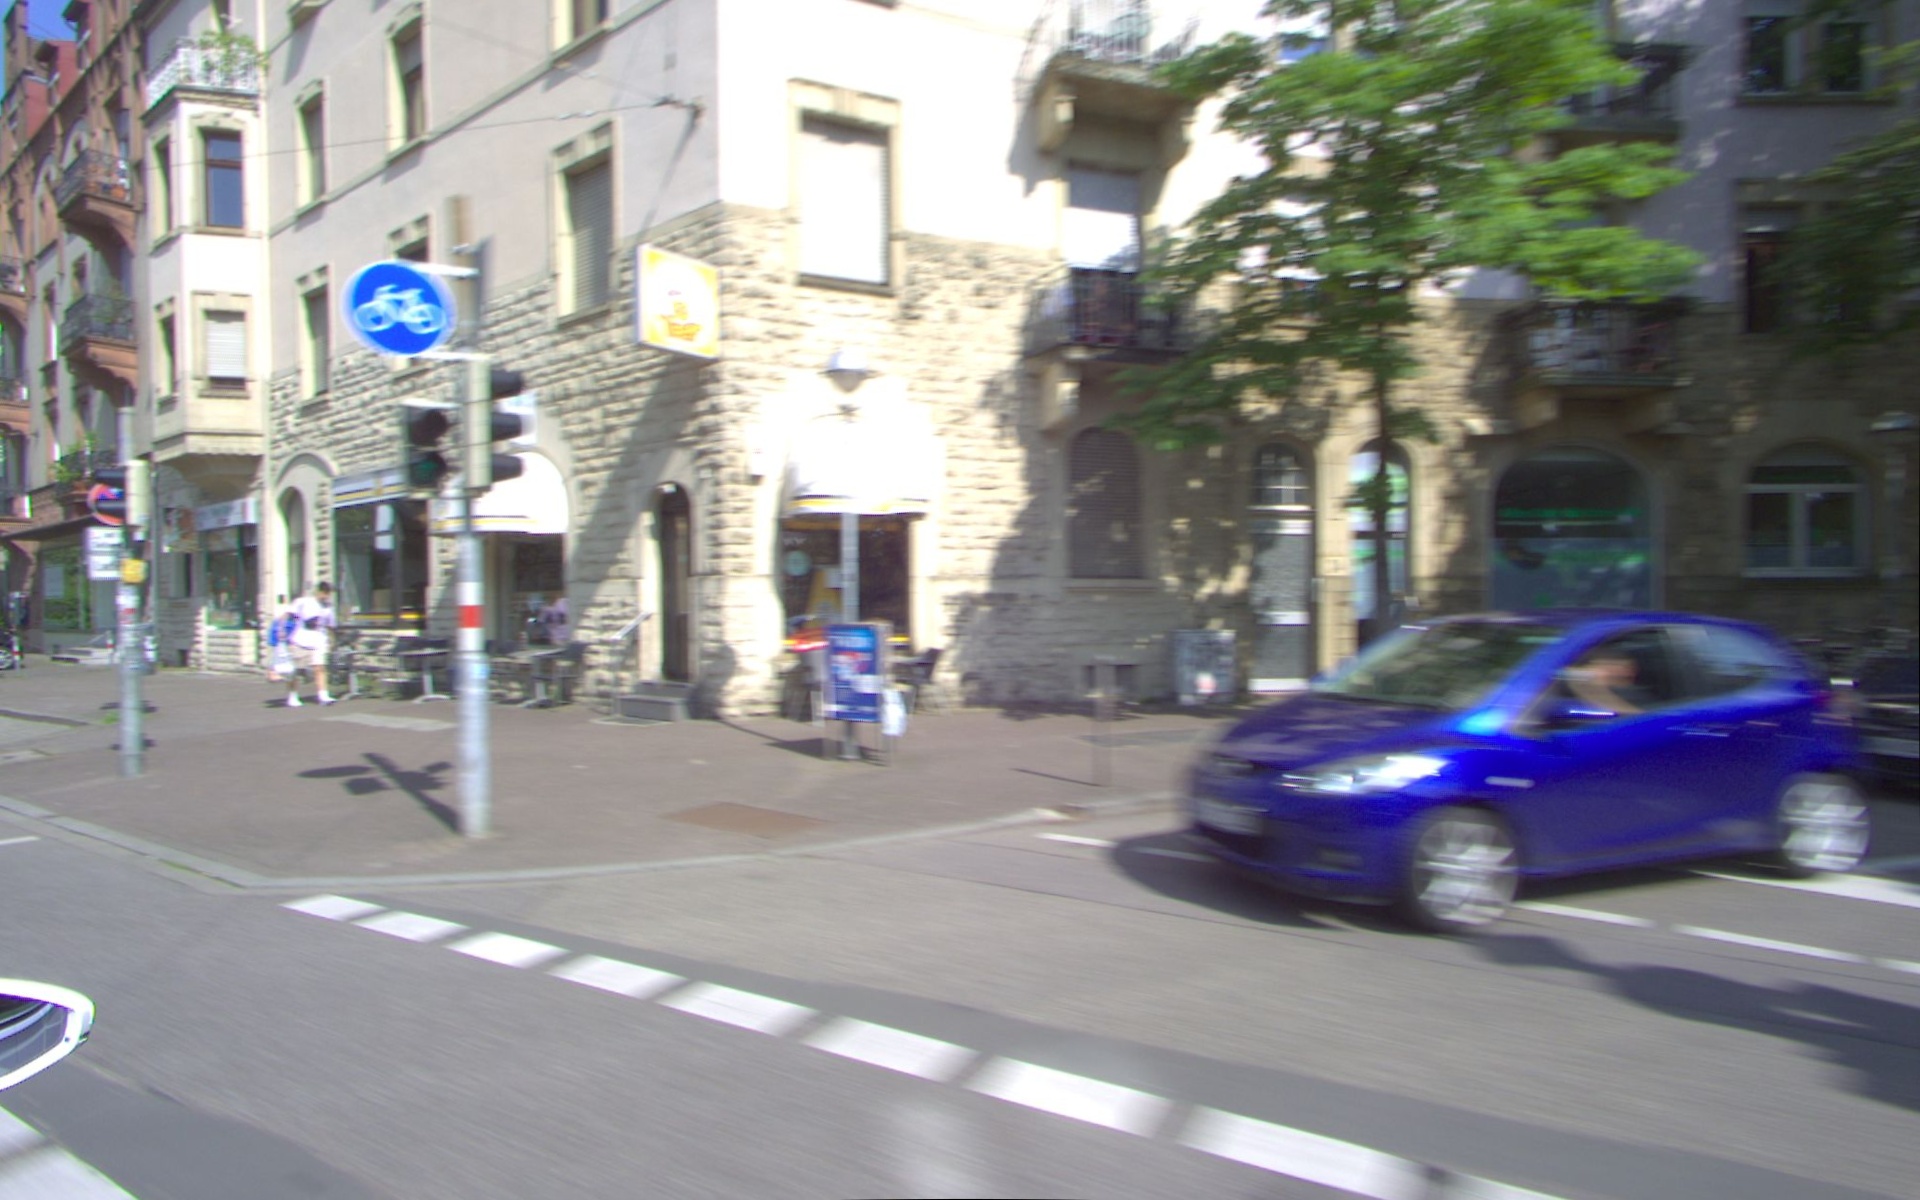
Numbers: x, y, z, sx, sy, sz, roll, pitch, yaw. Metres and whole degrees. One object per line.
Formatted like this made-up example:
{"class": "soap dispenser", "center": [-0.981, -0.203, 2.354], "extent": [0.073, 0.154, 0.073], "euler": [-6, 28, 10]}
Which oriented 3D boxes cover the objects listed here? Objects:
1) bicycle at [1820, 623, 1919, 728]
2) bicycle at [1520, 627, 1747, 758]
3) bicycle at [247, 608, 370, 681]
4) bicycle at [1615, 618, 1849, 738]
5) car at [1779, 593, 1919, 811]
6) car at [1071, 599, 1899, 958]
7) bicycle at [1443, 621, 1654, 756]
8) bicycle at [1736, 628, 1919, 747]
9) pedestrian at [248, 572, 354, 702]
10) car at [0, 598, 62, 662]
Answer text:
{"class": "bicycle", "center": [10.889, 0.851, 11.141], "extent": [0.578, 1.131, 1.968], "euler": [1, 0, -19]}
{"class": "bicycle", "center": [6.823, 0.887, 10.283], "extent": [0.578, 1.155, 1.968], "euler": [1, 0, -19]}
{"class": "bicycle", "center": [-11.398, 0.761, 17.485], "extent": [2.715, 1.192, 0.803], "euler": [-1, -2, 34]}
{"class": "bicycle", "center": [8.156, 0.777, 10.705], "extent": [0.578, 1.131, 1.968], "euler": [1, 0, -19]}
{"class": "car", "center": [8.901, 0.752, 7.635], "extent": [4.034, 1.574, 1.729], "euler": [0, -2, -5]}
{"class": "car", "center": [2.807, 0.733, 5.576], "extent": [3.930, 1.438, 1.888], "euler": [0, 0, -18]}
{"class": "bicycle", "center": [6.024, 0.852, 10.401], "extent": [0.578, 1.225, 1.968], "euler": [1, 0, -19]}
{"class": "bicycle", "center": [9.589, 0.897, 10.759], "extent": [0.578, 1.131, 1.968], "euler": [1, 0, -19]}
{"class": "pedestrian", "center": [-9.525, 0.504, 14.483], "extent": [0.839, 1.793, 1.006], "euler": [1, 3, 38]}
{"class": "car", "center": [-24.774, 0.784, 24.854], "extent": [1.948, 1.544, 3.385], "euler": [-1, 1, 39]}
